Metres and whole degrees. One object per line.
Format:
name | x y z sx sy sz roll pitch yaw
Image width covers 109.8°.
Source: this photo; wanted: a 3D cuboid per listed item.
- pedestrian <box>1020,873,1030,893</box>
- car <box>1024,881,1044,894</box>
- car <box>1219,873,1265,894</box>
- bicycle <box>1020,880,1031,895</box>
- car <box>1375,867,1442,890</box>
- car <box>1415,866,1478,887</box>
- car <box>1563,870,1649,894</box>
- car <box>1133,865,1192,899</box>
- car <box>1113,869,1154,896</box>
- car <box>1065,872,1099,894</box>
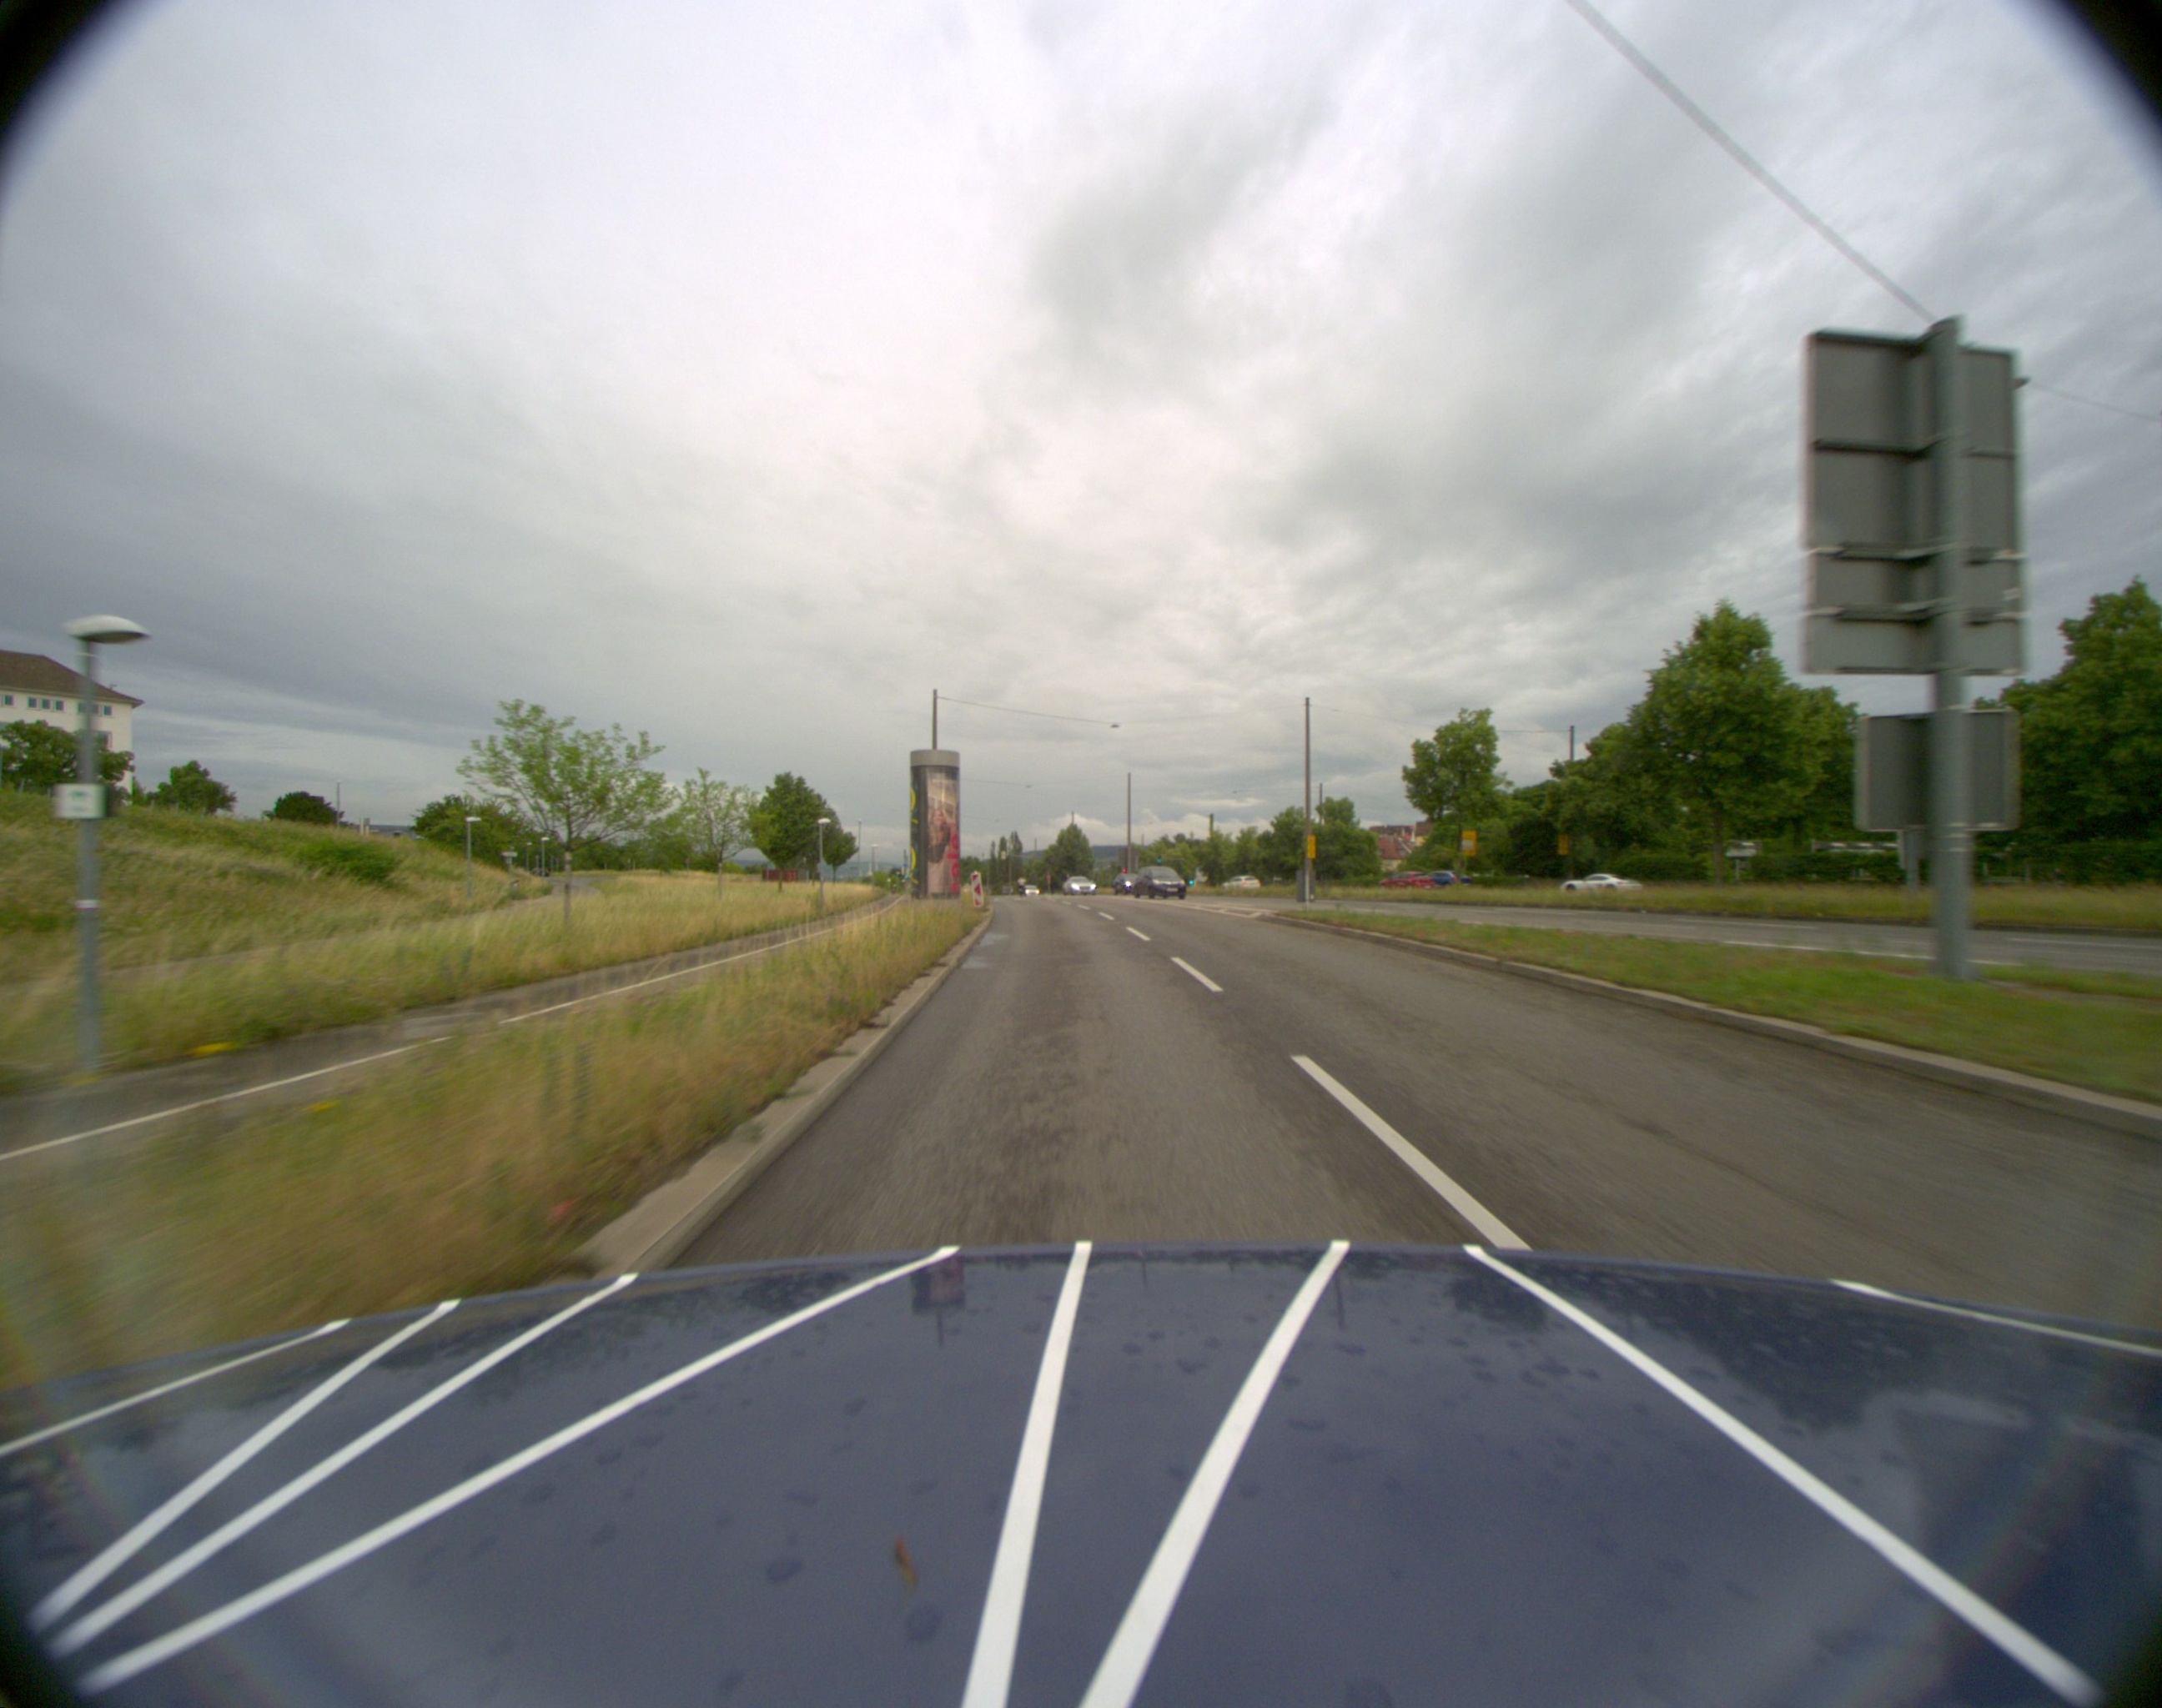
pedestrian | -4.393 2.285 59.968 0.635 1.560 0.895 -1 -4 -13
car | -6.544 4.732 105.985 2.001 1.632 4.626 -2 -3 -13
car | 14.607 2.627 69.267 2.001 1.760 4.864 -1 -1 -17
bicycle | -4.380 2.645 59.937 0.635 1.098 1.752 -1 -4 -13
car | 22.268 1.655 51.839 1.917 1.522 3.994 0 -2 -21
car | 25.752 1.608 53.702 1.884 1.433 3.977 0 -2 -15
car | 31.123 1.658 45.192 1.668 1.383 3.976 0 -2 -18
car | 3.927 1.387 37.146 1.802 1.556 4.041 0 -2 -10
car | 3.958 2.219 58.238 2.001 1.849 3.998 -1 -4 -13
car | 0.005 2.215 57.757 2.000 1.399 4.525 -3 -4 -7
